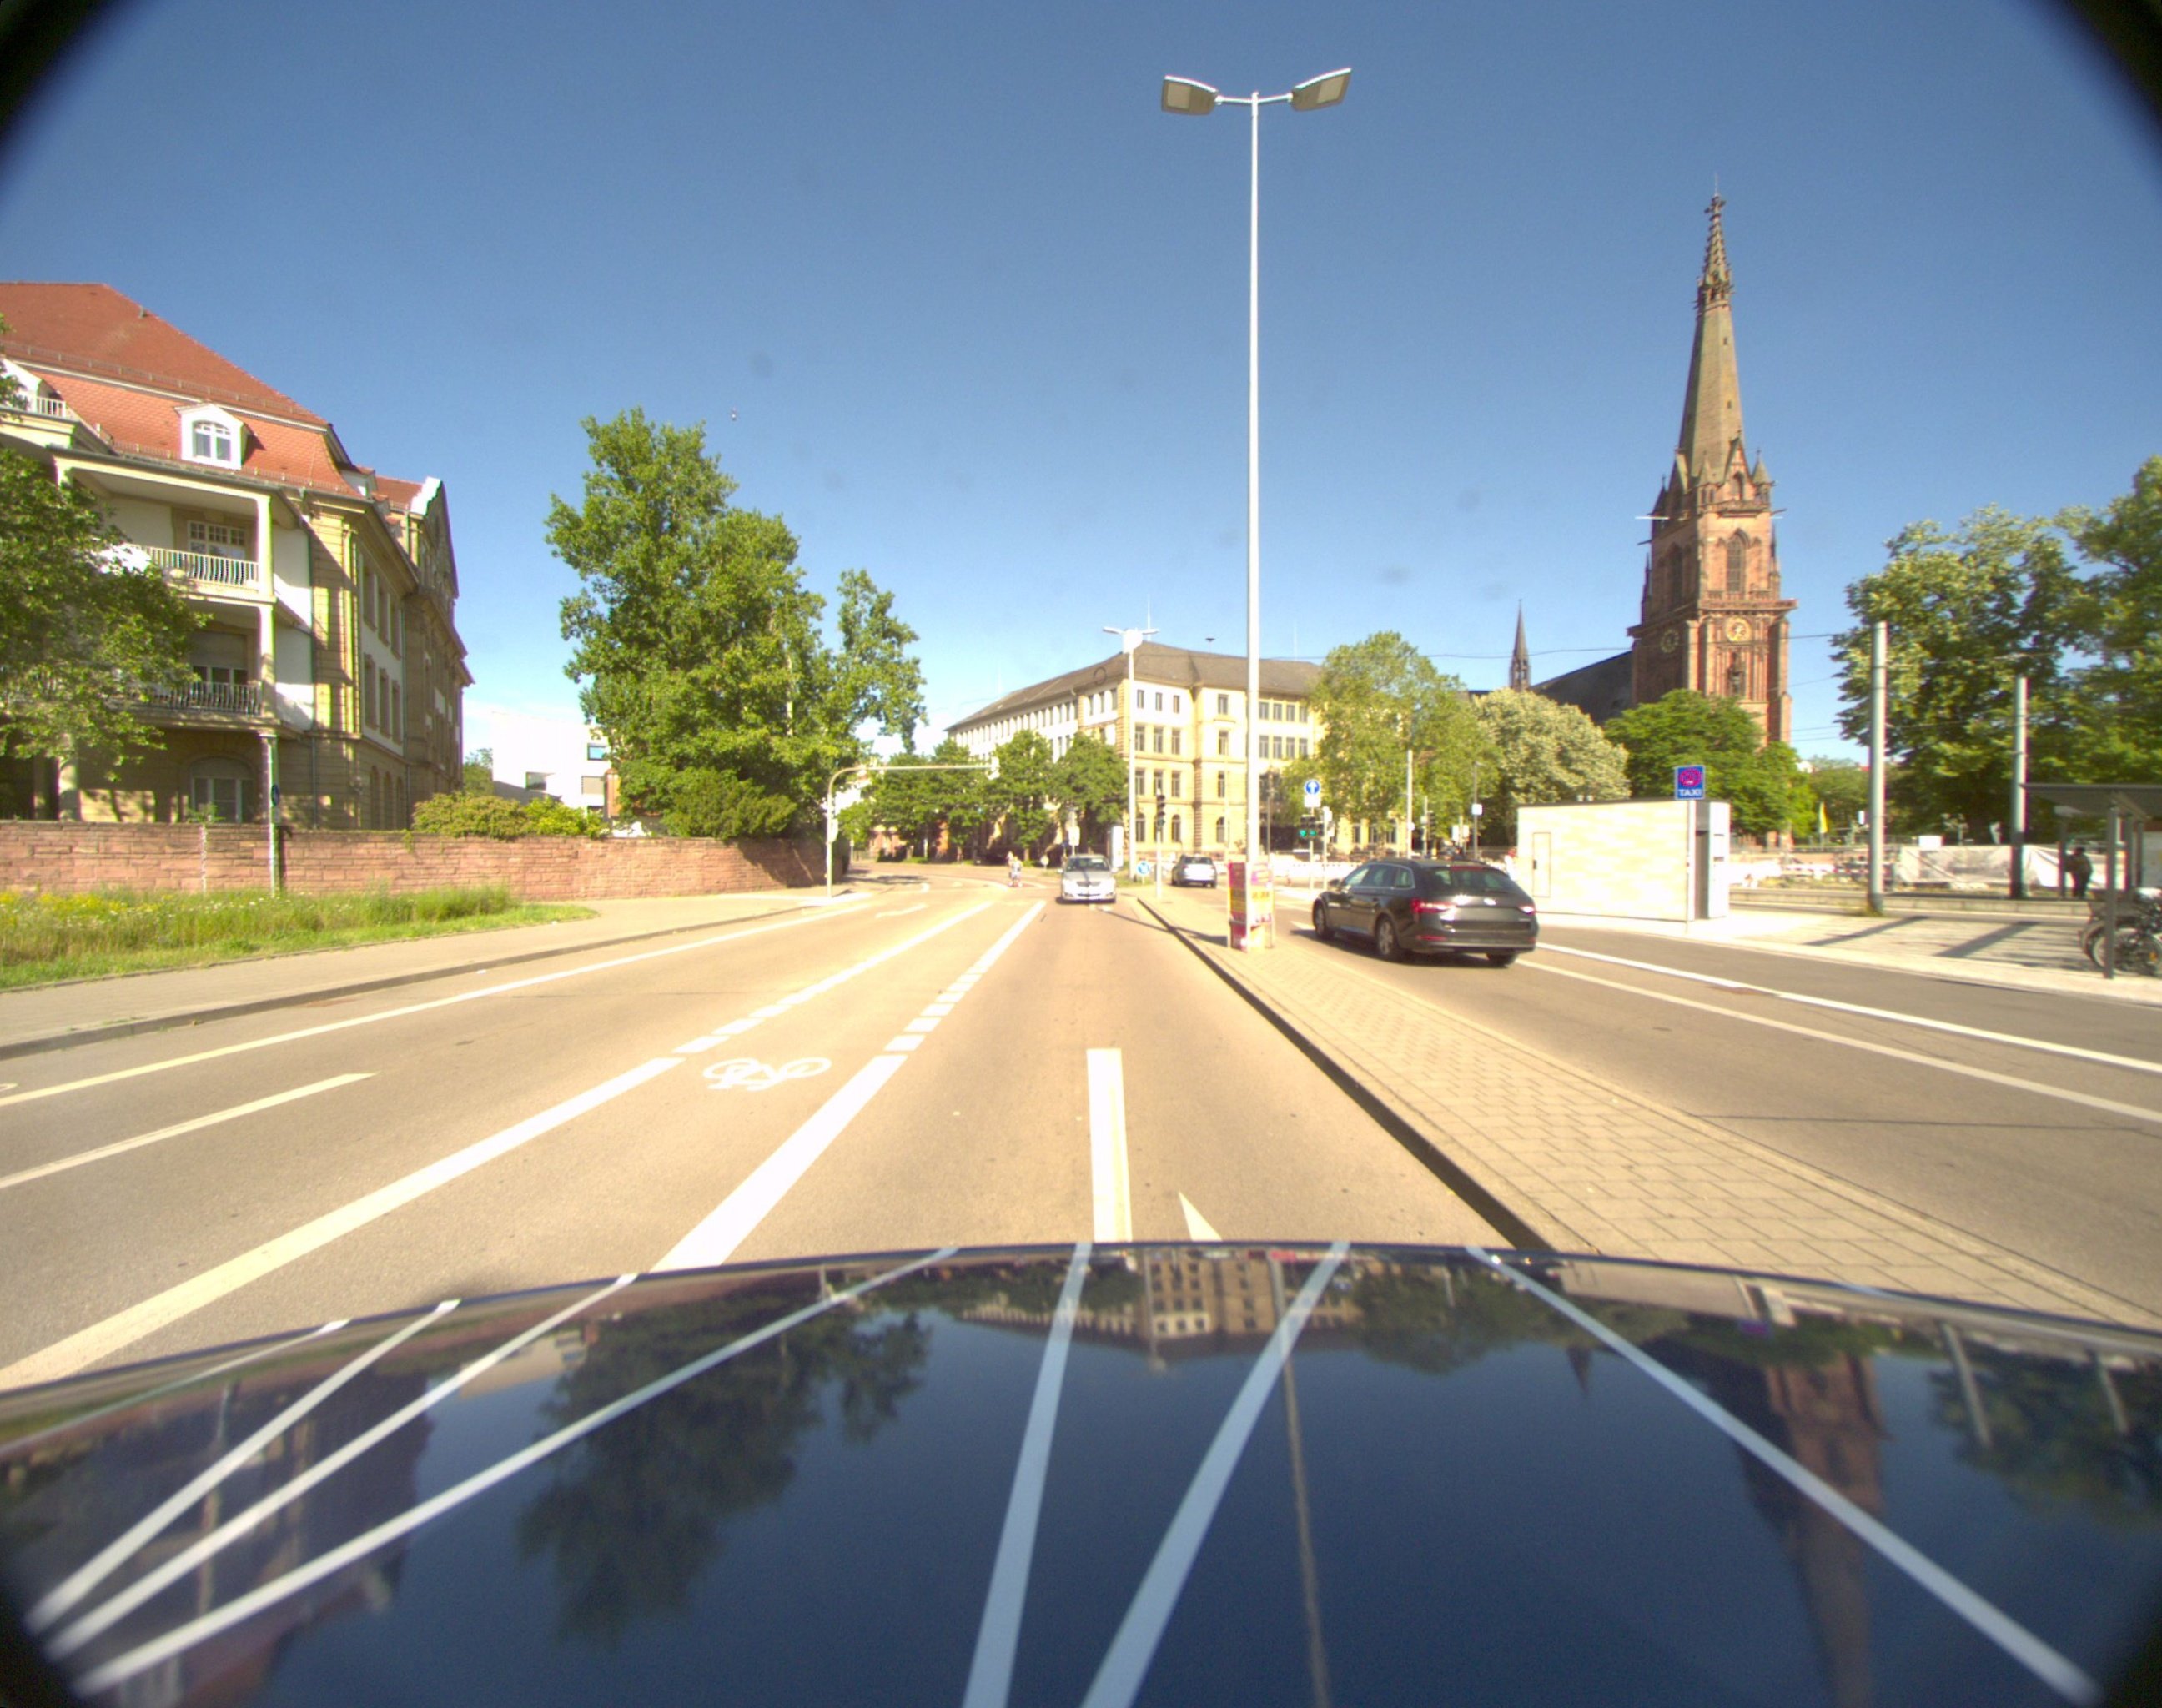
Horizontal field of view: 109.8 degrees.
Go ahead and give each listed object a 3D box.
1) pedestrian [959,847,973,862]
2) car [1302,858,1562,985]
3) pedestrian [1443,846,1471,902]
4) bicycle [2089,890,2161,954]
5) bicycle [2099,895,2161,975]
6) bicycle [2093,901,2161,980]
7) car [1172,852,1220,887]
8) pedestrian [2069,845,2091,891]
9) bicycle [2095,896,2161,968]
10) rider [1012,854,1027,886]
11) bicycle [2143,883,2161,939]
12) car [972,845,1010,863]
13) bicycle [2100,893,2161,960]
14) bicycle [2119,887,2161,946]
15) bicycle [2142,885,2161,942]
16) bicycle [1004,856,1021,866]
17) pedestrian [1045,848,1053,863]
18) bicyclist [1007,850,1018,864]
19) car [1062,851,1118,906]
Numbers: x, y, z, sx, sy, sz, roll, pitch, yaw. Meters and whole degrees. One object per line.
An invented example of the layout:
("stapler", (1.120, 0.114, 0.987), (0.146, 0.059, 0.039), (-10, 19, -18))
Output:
("pedestrian", (-13.771, 0.086, 91.210), (0.934, 1.812, 1.394), (1, 1, 45))
("car", (5.022, 0.848, 11.712), (1.793, 1.490, 4.574), (1, 1, -1))
("pedestrian", (12.501, 0.659, 25.291), (0.693, 1.844, 0.679), (0, 1, 12))
("bicycle", (17.909, 1.129, 12.425), (0.458, 1.003, 1.667), (-1, 1, -33))
("bicycle", (15.196, 1.138, 10.277), (0.458, 1.055, 1.667), (-1, 1, -33))
("bicycle", (14.695, 1.173, 9.962), (0.458, 1.003, 1.667), (-1, 1, -33))
("car", (5.500, 0.695, 36.639), (1.859, 1.533, 4.241), (1, 1, 3))
("pedestrian", (37.567, 0.502, 28.575), (0.404, 1.711, 0.419), (1, 1, 38))
("bicycle", (16.069, 1.155, 10.974), (0.458, 1.003, 1.667), (-1, 1, -33))
("rider", (-3.184, 0.797, 39.256), (0.658, 1.610, 0.989), (-1, 1, 1))
("bicycle", (20.484, 1.066, 13.607), (0.458, 1.003, 1.667), (-1, 1, -33))
("car", (-10.730, -0.035, 90.759), (1.994, 2.002, 4.721), (0, 1, 32))
("bicycle", (17.256, 1.150, 11.652), (0.458, 1.003, 1.899), (-1, 1, -33))
("bicycle", (19.123, 1.101, 12.946), (0.458, 1.003, 1.667), (-1, 1, -33))
("bicycle", (19.890, 1.078, 13.197), (0.458, 1.003, 1.667), (-1, 1, -33))
("bicycle", (-7.103, 0.720, 78.358), (1.830, 0.985, 0.735), (0, 1, 44))
("pedestrian", (-3.605, 0.145, 86.020), (0.677, 1.714, 0.588), (-1, 1, -22))
("bicyclist", (-7.098, 0.284, 78.336), (0.893, 1.377, 0.735), (1, 1, 44))
("car", (0.239, 0.745, 25.475), (1.706, 1.657, 3.913), (-1, 1, -1))
